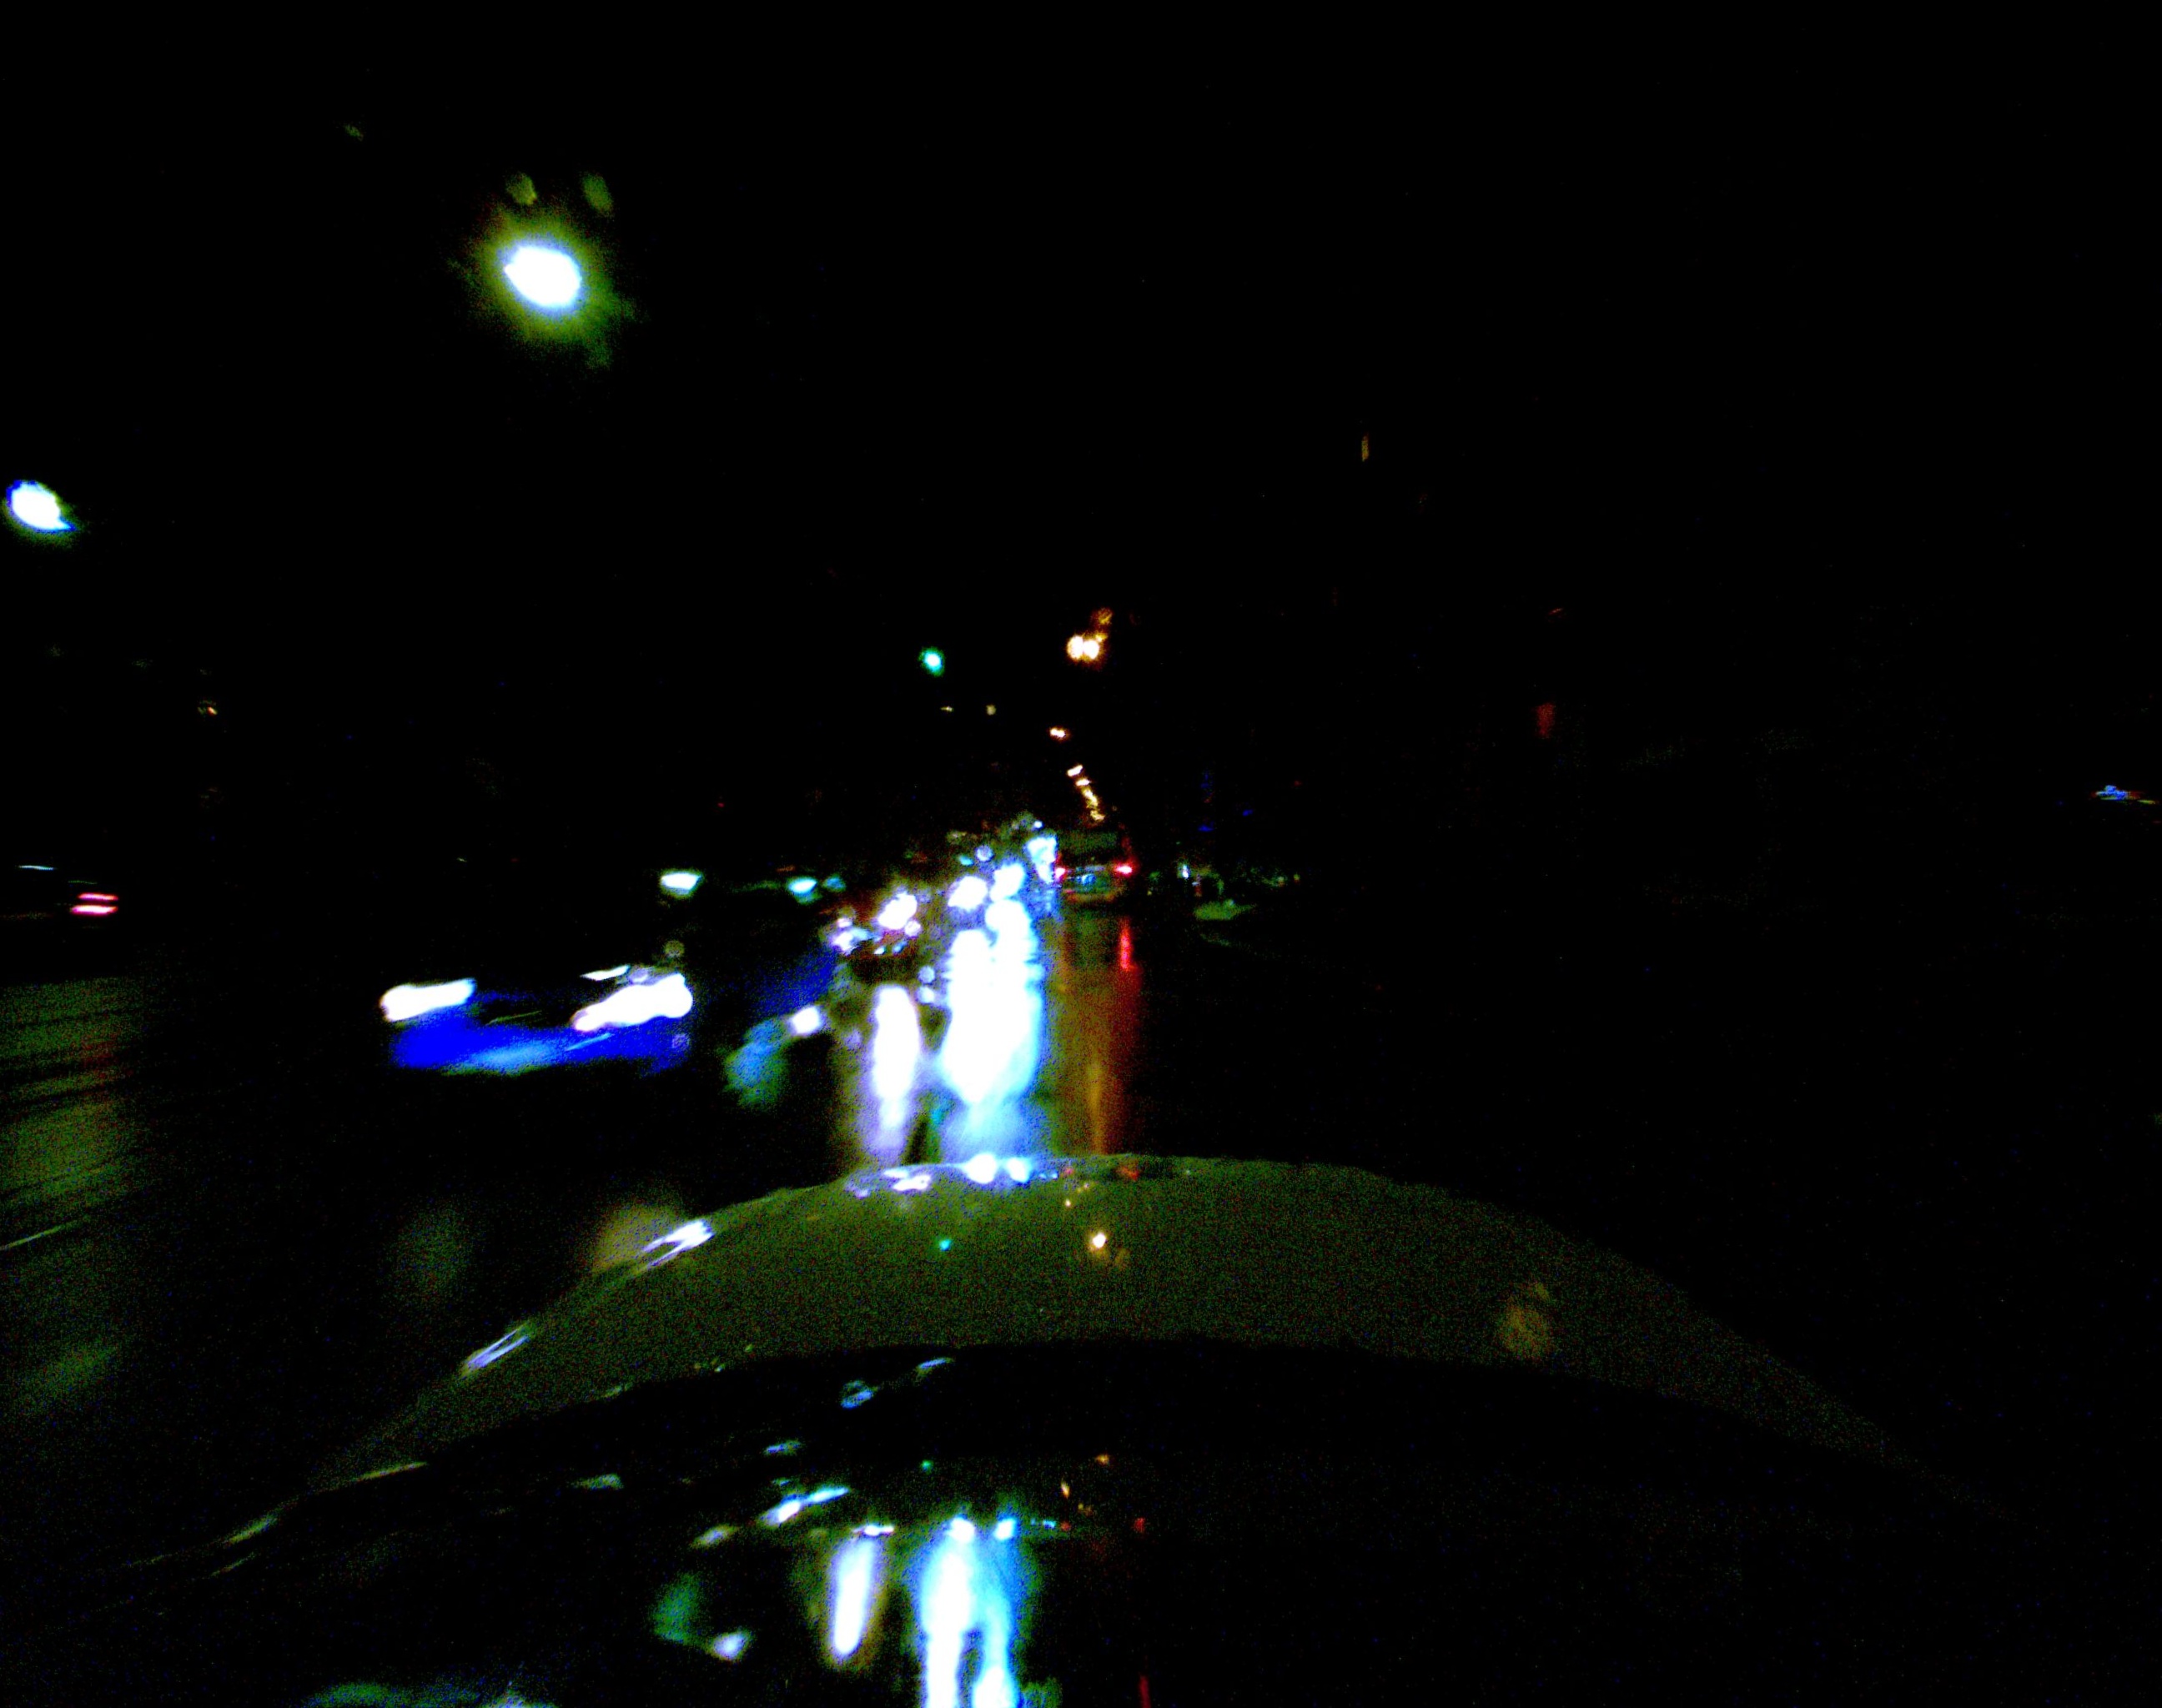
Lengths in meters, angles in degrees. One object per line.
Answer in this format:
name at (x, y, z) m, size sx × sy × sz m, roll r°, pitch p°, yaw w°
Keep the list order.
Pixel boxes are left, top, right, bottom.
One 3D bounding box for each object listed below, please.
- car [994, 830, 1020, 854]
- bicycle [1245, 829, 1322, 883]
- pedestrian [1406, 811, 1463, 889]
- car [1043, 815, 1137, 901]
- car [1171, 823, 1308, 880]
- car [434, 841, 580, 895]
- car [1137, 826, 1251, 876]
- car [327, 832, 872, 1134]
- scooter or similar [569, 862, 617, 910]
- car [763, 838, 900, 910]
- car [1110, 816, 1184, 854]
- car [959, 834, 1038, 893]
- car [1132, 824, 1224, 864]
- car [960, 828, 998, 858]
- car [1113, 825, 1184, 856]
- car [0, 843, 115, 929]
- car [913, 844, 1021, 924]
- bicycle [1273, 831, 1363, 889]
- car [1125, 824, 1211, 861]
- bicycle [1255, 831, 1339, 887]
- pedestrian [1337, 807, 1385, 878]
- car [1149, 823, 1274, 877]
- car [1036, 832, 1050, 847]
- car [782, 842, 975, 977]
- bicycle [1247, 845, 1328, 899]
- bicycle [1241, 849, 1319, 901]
car at (-6.616, -1.077, 72.468) m, size 1.726 × 1.971 × 3.711 m, roll -2°, pitch 2°, yaw -13°
bicycle at (5.609, 0.051, 22.589) m, size 1.893 × 1.360 × 0.595 m, roll -4°, pitch 1°, yaw -4°
pedestrian at (7.620, -0.104, 17.606) m, size 0.778 × 1.617 × 1.000 m, roll -2°, pitch 2°, yaw 2°
car at (0.281, 0.037, 21.653) m, size 2.160 × 1.971 × 4.304 m, roll -2°, pitch 2°, yaw 1°
car at (5.065, -0.124, 25.765) m, size 4.205 × 1.457 × 1.837 m, roll -5°, pitch 3°, yaw -37°
car at (-22.052, 0.486, 31.488) m, size 1.682 × 1.700 × 4.219 m, roll -1°, pitch 4°, yaw 26°
car at (4.395, -0.158, 31.392) m, size 4.201 × 1.590 × 1.713 m, roll -5°, pitch 3°, yaw -32°
car at (-3.042, 0.628, 6.286) m, size 1.700 × 1.542 × 3.990 m, roll -2°, pitch 2°, yaw 1°
scooter or similar at (-13.579, 0.881, 22.675) m, size 1.081 × 1.240 × 0.283 m, roll -2°, pitch 2°, yaw -27°
car at (-5.916, 0.405, 19.861) m, size 1.755 × 1.486 × 4.066 m, roll -2°, pitch 2°, yaw 5°
car at (4.783, -1.405, 58.657) m, size 5.034 × 2.391 × 2.116 m, roll -5°, pitch 3°, yaw -37°
car at (-2.390, 0.197, 24.681) m, size 1.781 × 1.554 × 4.856 m, roll -2°, pitch 2°, yaw 1°
car at (4.827, -0.516, 40.620) m, size 4.186 × 1.645 × 1.759 m, roll -4°, pitch 2°, yaw -20°
car at (-7.231, -0.813, 57.368) m, size 1.995 × 1.971 × 4.279 m, roll -2°, pitch 2°, yaw -16°
car at (4.239, -0.826, 50.741) m, size 4.206 × 1.645 × 1.750 m, roll -5°, pitch 3°, yaw -37°
car at (-24.898, 0.727, 19.174) m, size 4.278 × 1.780 × 1.910 m, roll -1°, pitch 2°, yaw 29°
car at (-2.340, 0.557, 17.701) m, size 1.663 × 1.420 × 4.098 m, roll -2°, pitch 2°, yaw 1°
bicycle at (5.711, 0.141, 19.693) m, size 1.893 × 1.251 × 0.710 m, roll -4°, pitch 1°, yaw -4°
car at (4.692, -0.638, 43.945) m, size 4.186 × 1.645 × 1.759 m, roll -4°, pitch 2°, yaw -20°
bicycle at (5.434, 0.122, 20.565) m, size 1.893 × 1.251 × 0.595 m, roll -4°, pitch 1°, yaw -4°
pedestrian at (7.694, -0.319, 22.399) m, size 0.954 × 1.881 × 1.000 m, roll -2°, pitch 2°, yaw 2°
car at (4.626, -0.173, 28.604) m, size 4.205 × 1.576 × 1.861 m, roll -5°, pitch 3°, yaw -37°
car at (-5.025, -1.935, 108.382) m, size 1.720 × 1.971 × 4.218 m, roll -2°, pitch 2°, yaw -2°
car at (-2.748, 0.655, 12.013) m, size 1.662 × 1.562 × 4.010 m, roll -2°, pitch 2°, yaw 2°
bicycle at (5.415, 0.457, 21.378) m, size 1.893 × 1.251 × 0.595 m, roll -4°, pitch 1°, yaw -4°
bicycle at (5.377, 0.560, 22.024) m, size 1.893 × 1.251 × 0.595 m, roll -4°, pitch 1°, yaw -4°
